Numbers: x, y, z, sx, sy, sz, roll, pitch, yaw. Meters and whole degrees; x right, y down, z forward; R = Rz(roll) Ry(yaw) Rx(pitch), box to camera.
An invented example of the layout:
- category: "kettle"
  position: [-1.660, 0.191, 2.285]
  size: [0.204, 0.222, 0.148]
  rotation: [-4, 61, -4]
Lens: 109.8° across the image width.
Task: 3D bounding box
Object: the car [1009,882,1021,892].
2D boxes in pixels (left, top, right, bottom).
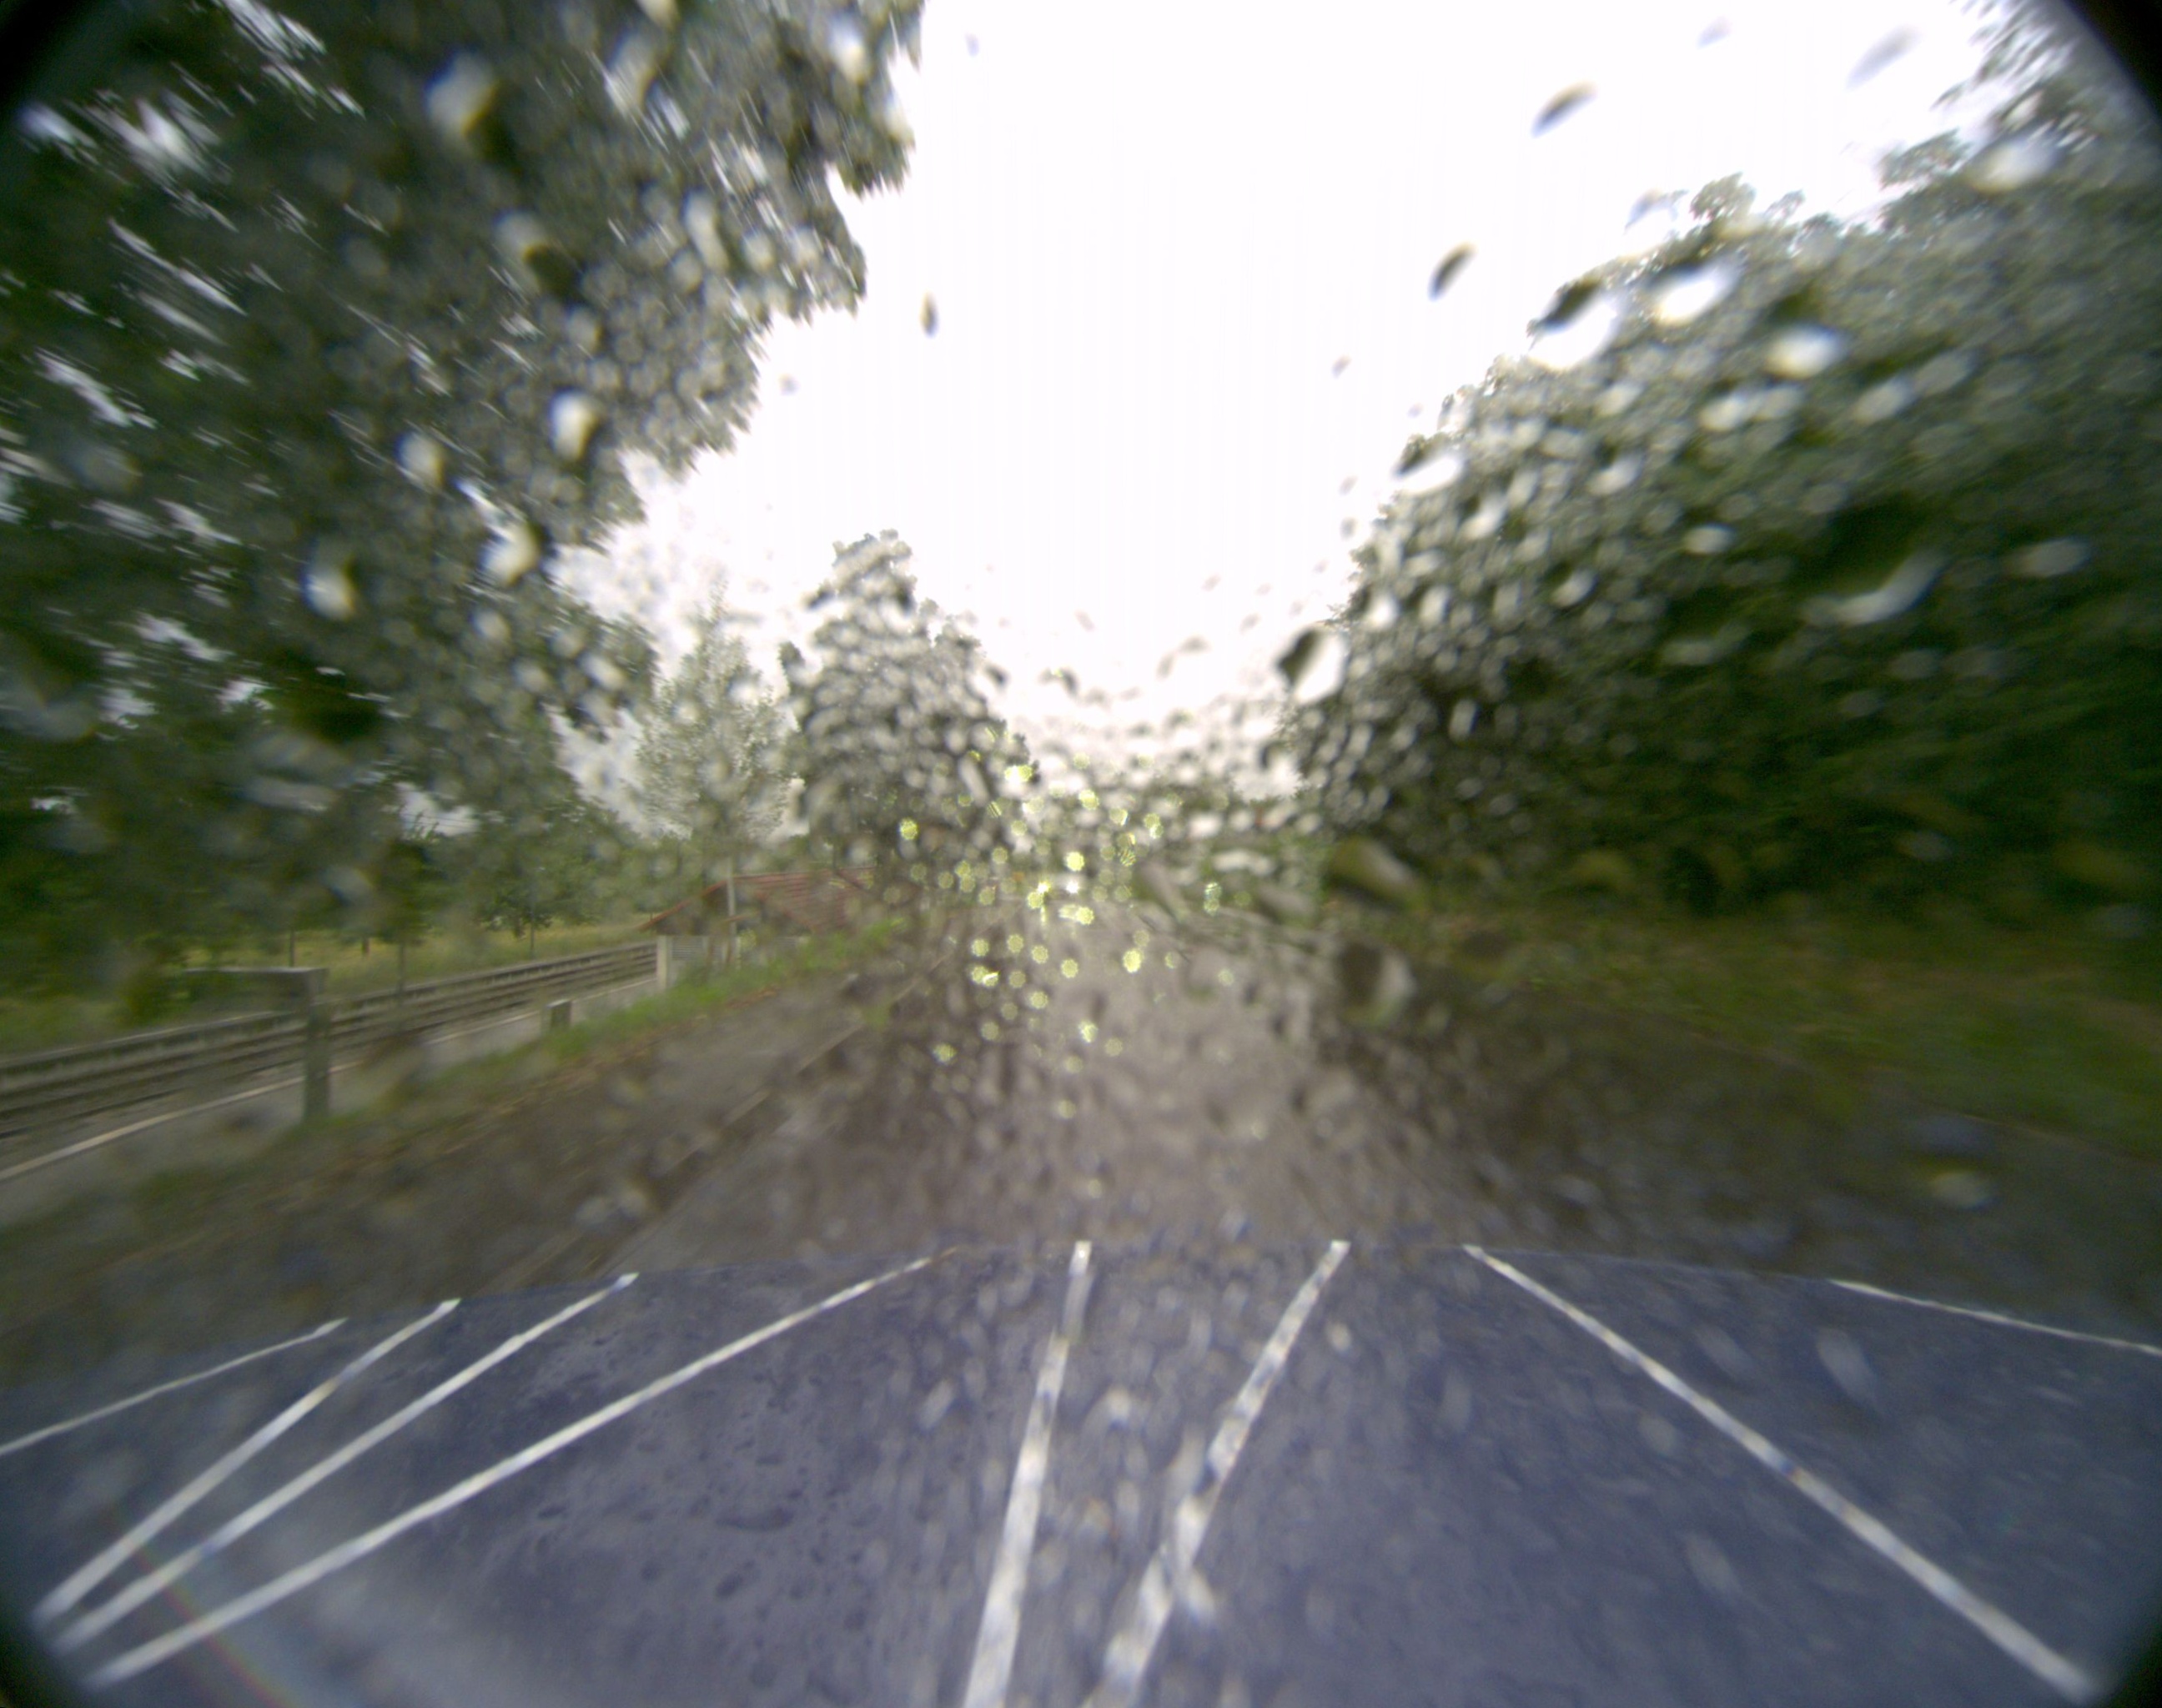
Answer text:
- category: "car"
  position: [-12.968, 6.446, 149.048]
  size: [2.000, 2.001, 3.997]
  rotation: [0, -1, -11]

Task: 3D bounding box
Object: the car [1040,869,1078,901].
- category: "car"
  position: [-1.111, 1.523, 37.512]
  size: [1.765, 1.476, 3.791]
  rotation: [1, -2, -3]
